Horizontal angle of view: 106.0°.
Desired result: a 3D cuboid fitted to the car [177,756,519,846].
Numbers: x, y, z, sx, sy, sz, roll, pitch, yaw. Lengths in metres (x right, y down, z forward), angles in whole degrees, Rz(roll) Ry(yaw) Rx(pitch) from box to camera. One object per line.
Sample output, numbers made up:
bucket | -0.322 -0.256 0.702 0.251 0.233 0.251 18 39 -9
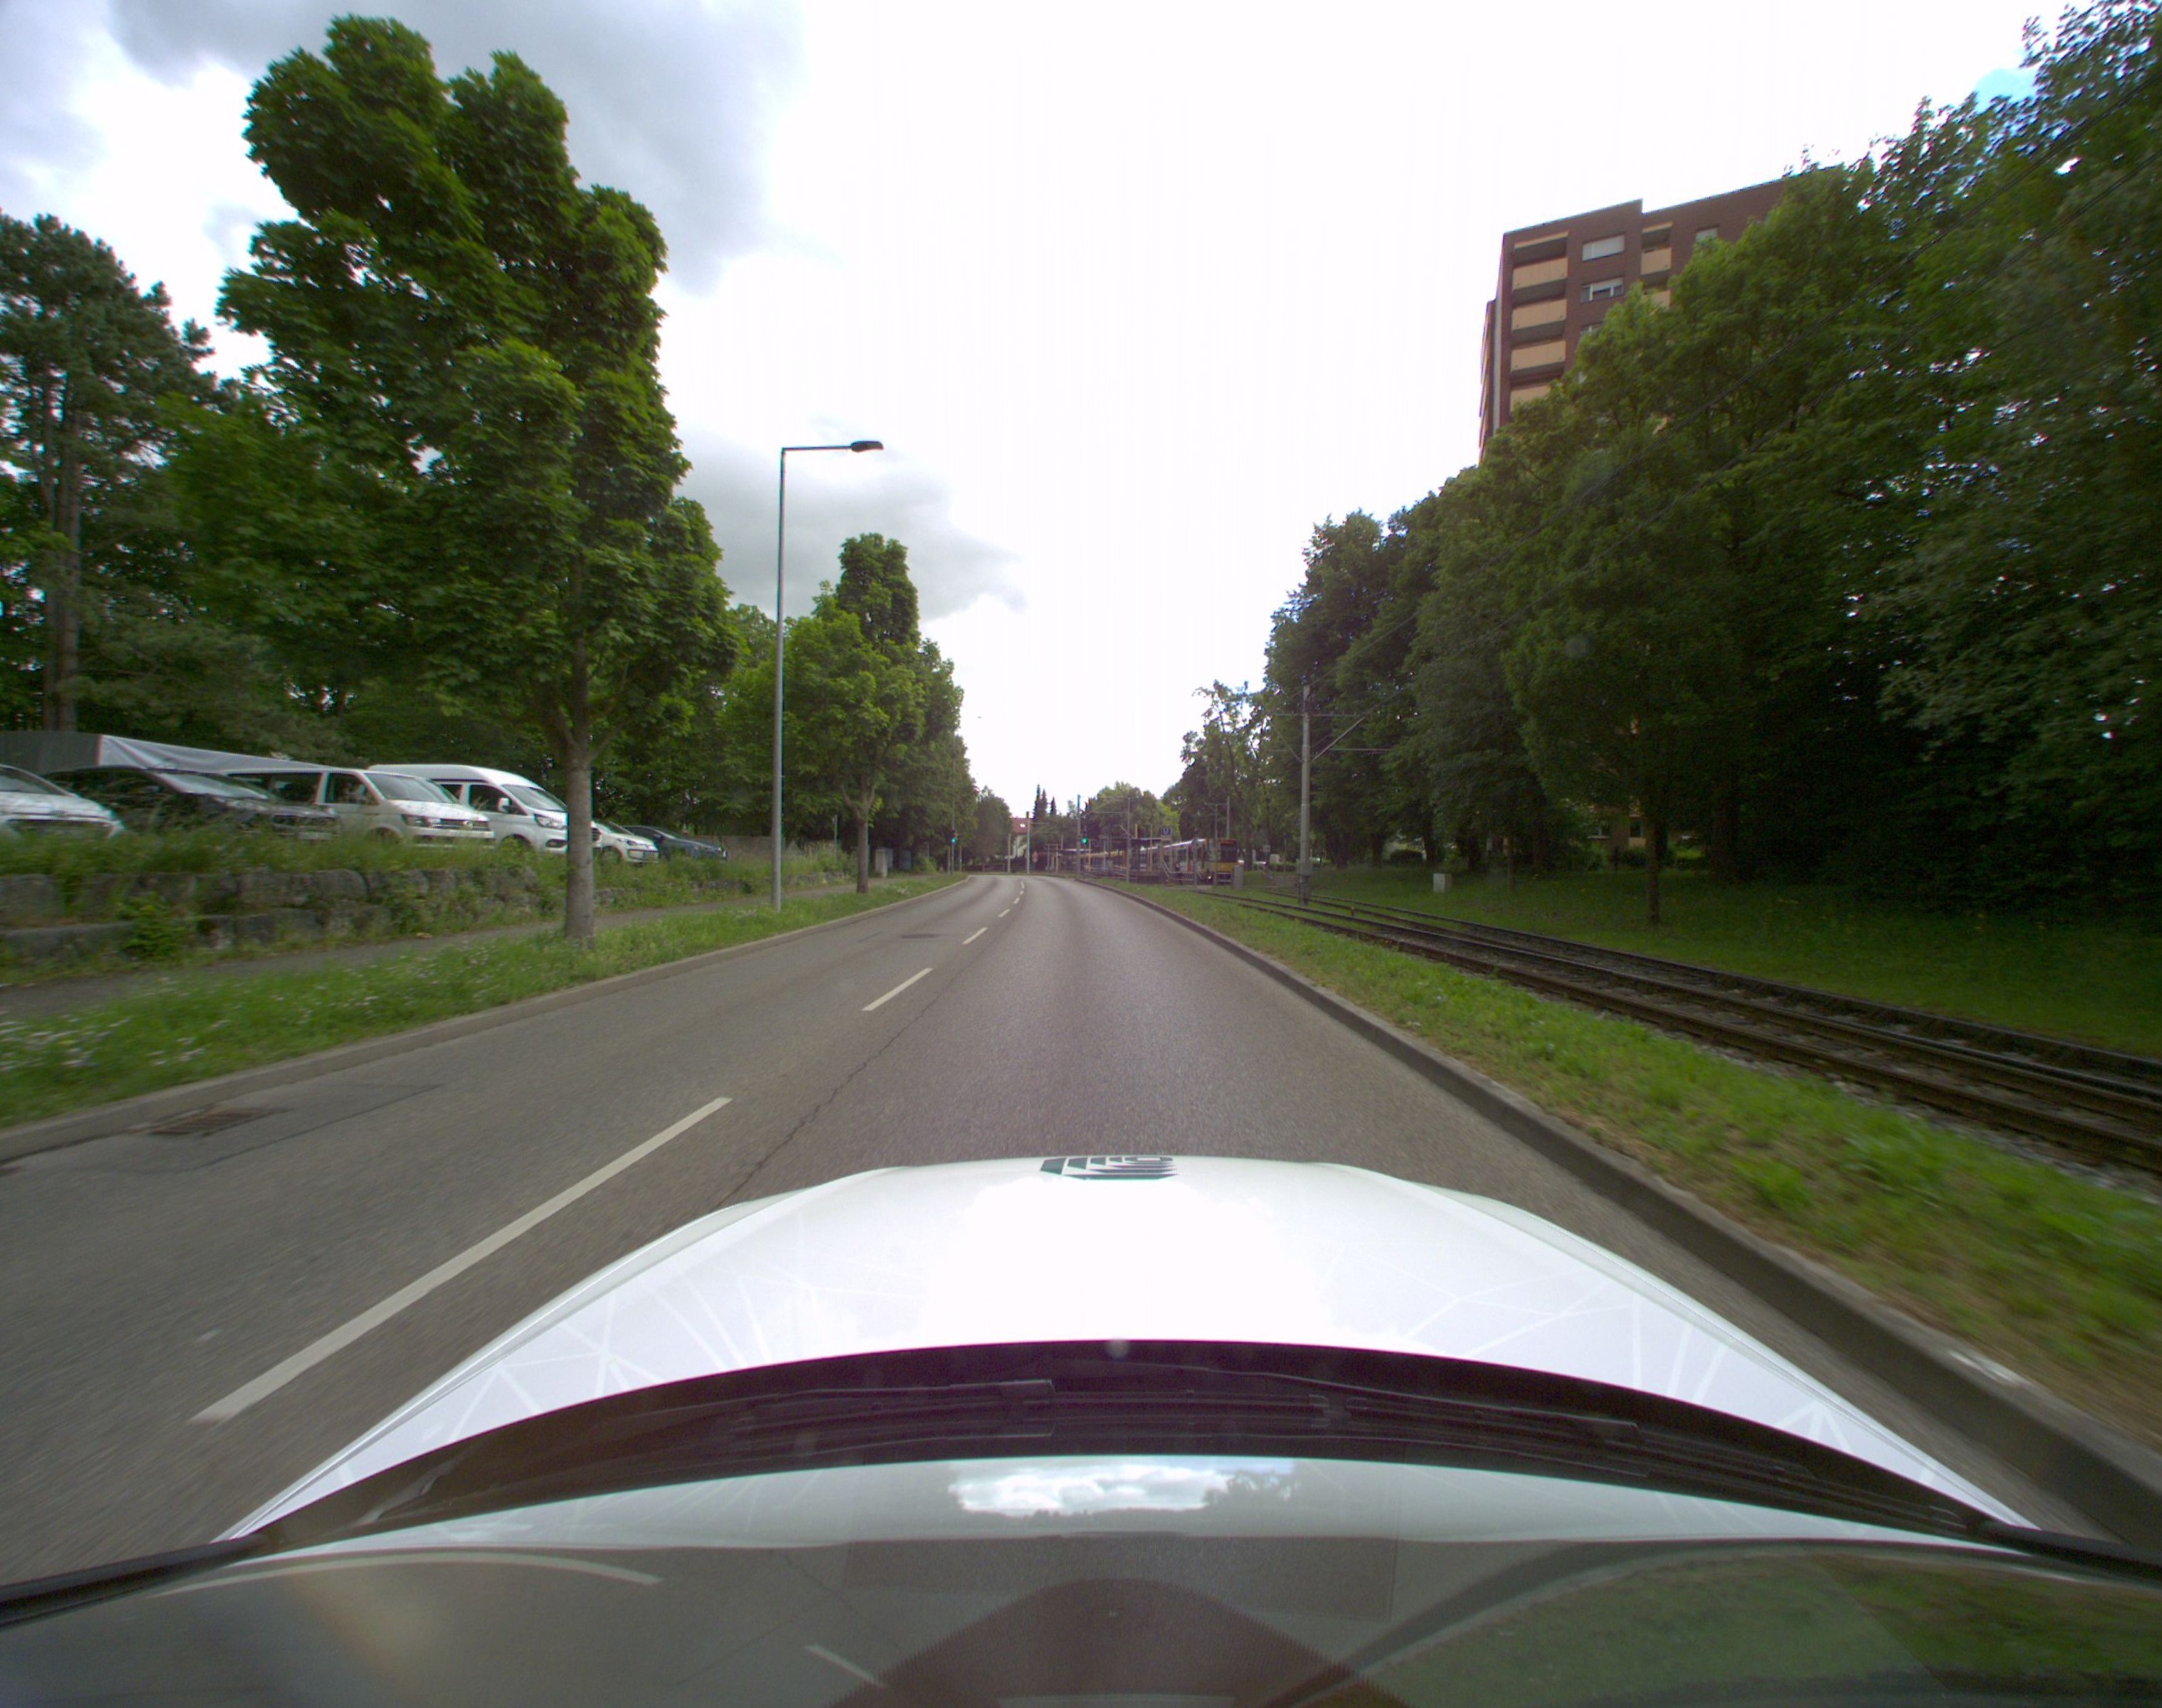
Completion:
car | -14.191 -0.994 15.957 4.969 1.548 2.101 1 0 5

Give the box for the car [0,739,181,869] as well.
car | -14.533 -0.631 10.535 4.014 1.511 1.784 1 0 5

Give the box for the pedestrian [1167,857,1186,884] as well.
pedestrian | 6.333 1.067 53.953 0.985 1.758 0.726 2 -1 -15

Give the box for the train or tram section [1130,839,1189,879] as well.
train or tram section | 8.180 0.753 88.169 2.809 3.799 18.895 1 -1 -5

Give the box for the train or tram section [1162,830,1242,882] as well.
train or tram section | 9.862 0.365 69.393 2.808 3.737 18.501 1 -1 -4

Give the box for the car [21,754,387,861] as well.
car | -14.180 -0.717 13.336 4.014 1.548 2.003 1 0 5

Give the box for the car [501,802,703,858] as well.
car | -14.813 -0.729 25.370 5.137 1.561 1.886 1 0 1

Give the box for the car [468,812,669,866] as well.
car | -13.648 -0.387 21.847 4.361 1.316 1.563 1 0 1

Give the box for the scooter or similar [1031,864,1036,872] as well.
scooter or similar | -7.777 2.362 133.561 0.431 1.253 1.245 0 -3 -21

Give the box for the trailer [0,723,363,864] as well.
trailer | -24.216 -1.347 22.132 2.638 3.074 7.198 1 -1 2

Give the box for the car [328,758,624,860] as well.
car | -13.775 -0.984 18.801 5.137 2.106 2.215 1 0 1
